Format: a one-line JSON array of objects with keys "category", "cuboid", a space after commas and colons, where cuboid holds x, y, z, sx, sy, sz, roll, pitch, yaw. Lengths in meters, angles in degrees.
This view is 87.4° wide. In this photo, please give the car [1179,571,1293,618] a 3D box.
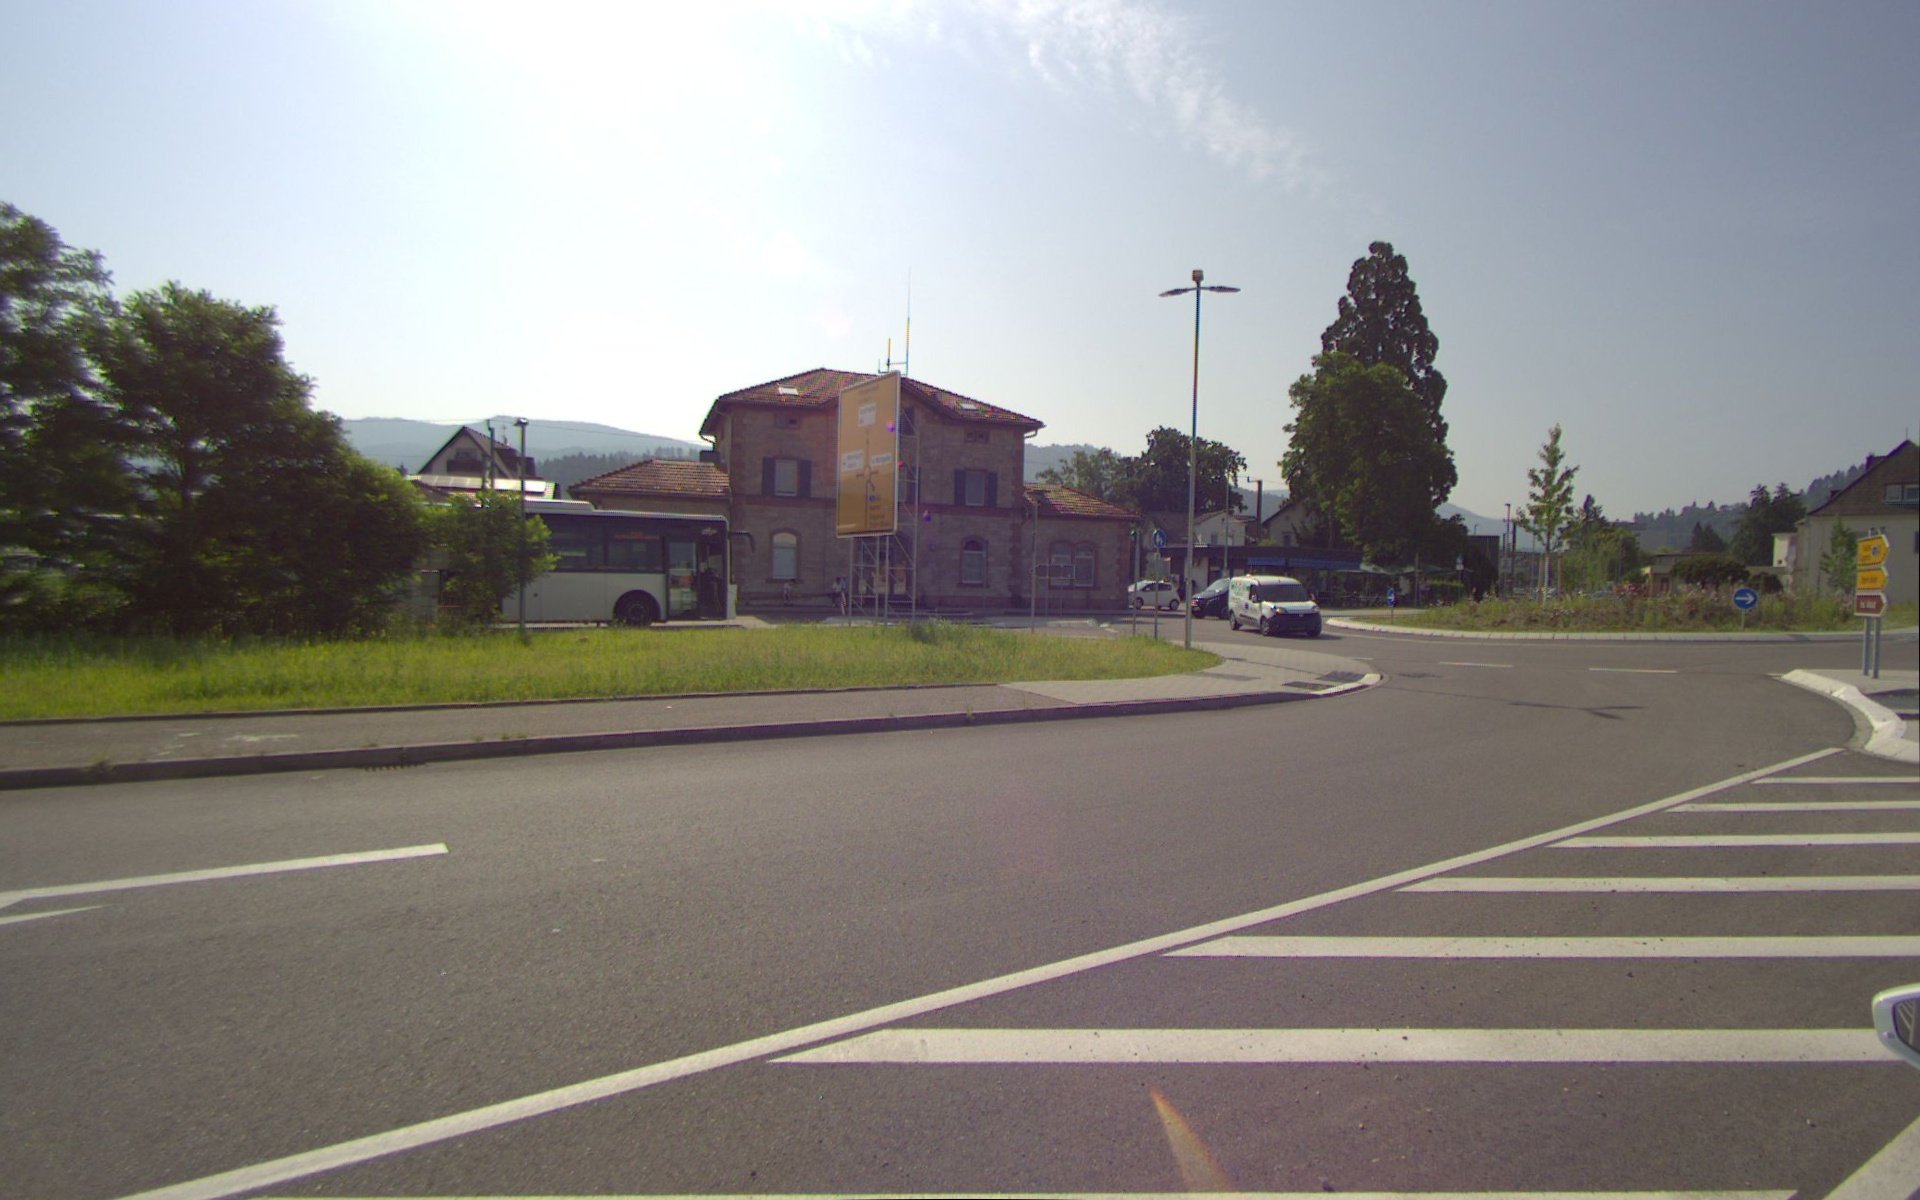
[{"category": "car", "cuboid": [12.424, -0.225, 45.222, 4.810, 1.972, 1.836, 1, 0, -21]}]

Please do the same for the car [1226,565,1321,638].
[{"category": "car", "cuboid": [10.157, -0.022, 32.917, 1.776, 2.106, 4.603, -1, 3, 1]}]

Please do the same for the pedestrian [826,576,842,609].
[{"category": "pedestrian", "cuboid": [-5.442, -0.322, 43.410, 0.544, 1.367, 0.564, 1, 0, -20]}]

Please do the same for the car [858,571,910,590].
[{"category": "car", "cuboid": [-6.178, -1.569, 81.978, 3.954, 1.358, 1.599, 1, 0, -31]}]

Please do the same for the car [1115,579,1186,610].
[{"category": "car", "cuboid": [10.158, -0.287, 53.577, 3.489, 1.469, 1.384, 3, 0, -24]}]

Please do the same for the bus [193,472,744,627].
[{"category": "bus", "cuboid": [-11.433, -1.060, 24.813, 11.583, 3.165, 3.049, 0, 2, -30]}]

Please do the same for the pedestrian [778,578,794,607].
[{"category": "pedestrian", "cuboid": [-7.436, -0.301, 42.825, 0.576, 1.220, 0.440, 1, 0, -23]}]
